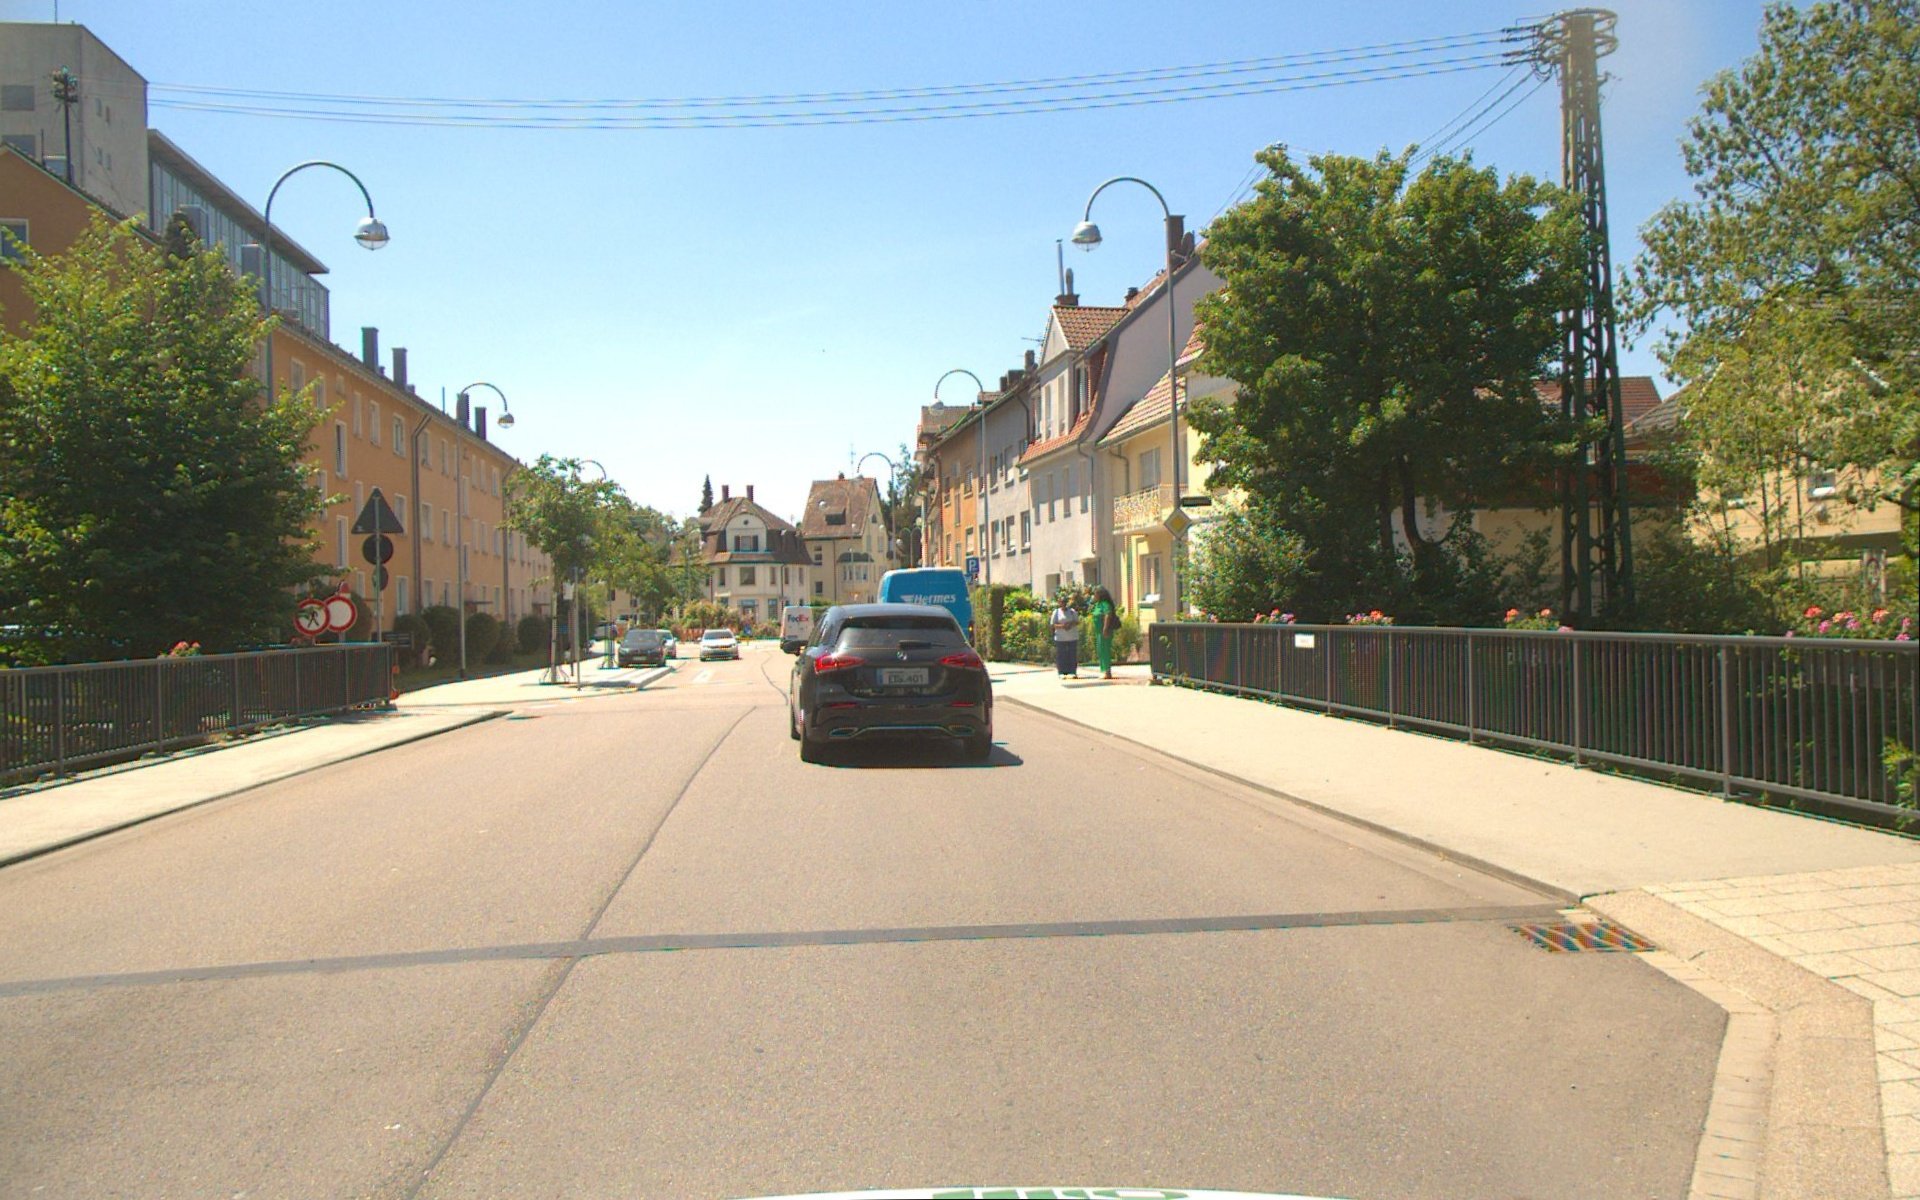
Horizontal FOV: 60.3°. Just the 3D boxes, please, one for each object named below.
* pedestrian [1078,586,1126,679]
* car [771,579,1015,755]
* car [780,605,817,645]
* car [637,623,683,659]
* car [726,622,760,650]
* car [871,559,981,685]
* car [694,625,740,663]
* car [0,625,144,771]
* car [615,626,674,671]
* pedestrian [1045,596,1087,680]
[{"bbox_3d":[2.769,0.634,32.355,0.652,1.772,0.697,-1,-1,-23],"label":"pedestrian"},{"bbox_3d":[-0.797,0.685,16.433,1.795,1.467,3.988,-2,-3,-11],"label":"car"},{"bbox_3d":[-9.905,1.498,101.368,2.201,2.384,4.846,0,0,-6],"label":"car"},{"bbox_3d":[-15.065,2.044,83.137,1.955,1.689,3.995,1,0,-6],"label":"car"},{"bbox_3d":[-13.603,2.225,103.989,1.955,1.689,3.995,1,0,-6],"label":"car"},{"bbox_3d":[-0.835,0.469,36.988,2.091,2.586,4.644,-1,0,-5],"label":"car"},{"bbox_3d":[-11.372,2.034,77.563,1.955,1.689,3.995,1,0,-6],"label":"car"},{"bbox_3d":[-14.869,1.505,26.551,1.956,2.049,3.993,-1,1,-8],"label":"car"},{"bbox_3d":[-12.653,1.932,66.563,1.955,1.689,3.995,1,0,-6],"label":"car"},{"bbox_3d":[2.127,0.754,33.259,0.603,1.641,0.835,-1,0,-11],"label":"pedestrian"}]
